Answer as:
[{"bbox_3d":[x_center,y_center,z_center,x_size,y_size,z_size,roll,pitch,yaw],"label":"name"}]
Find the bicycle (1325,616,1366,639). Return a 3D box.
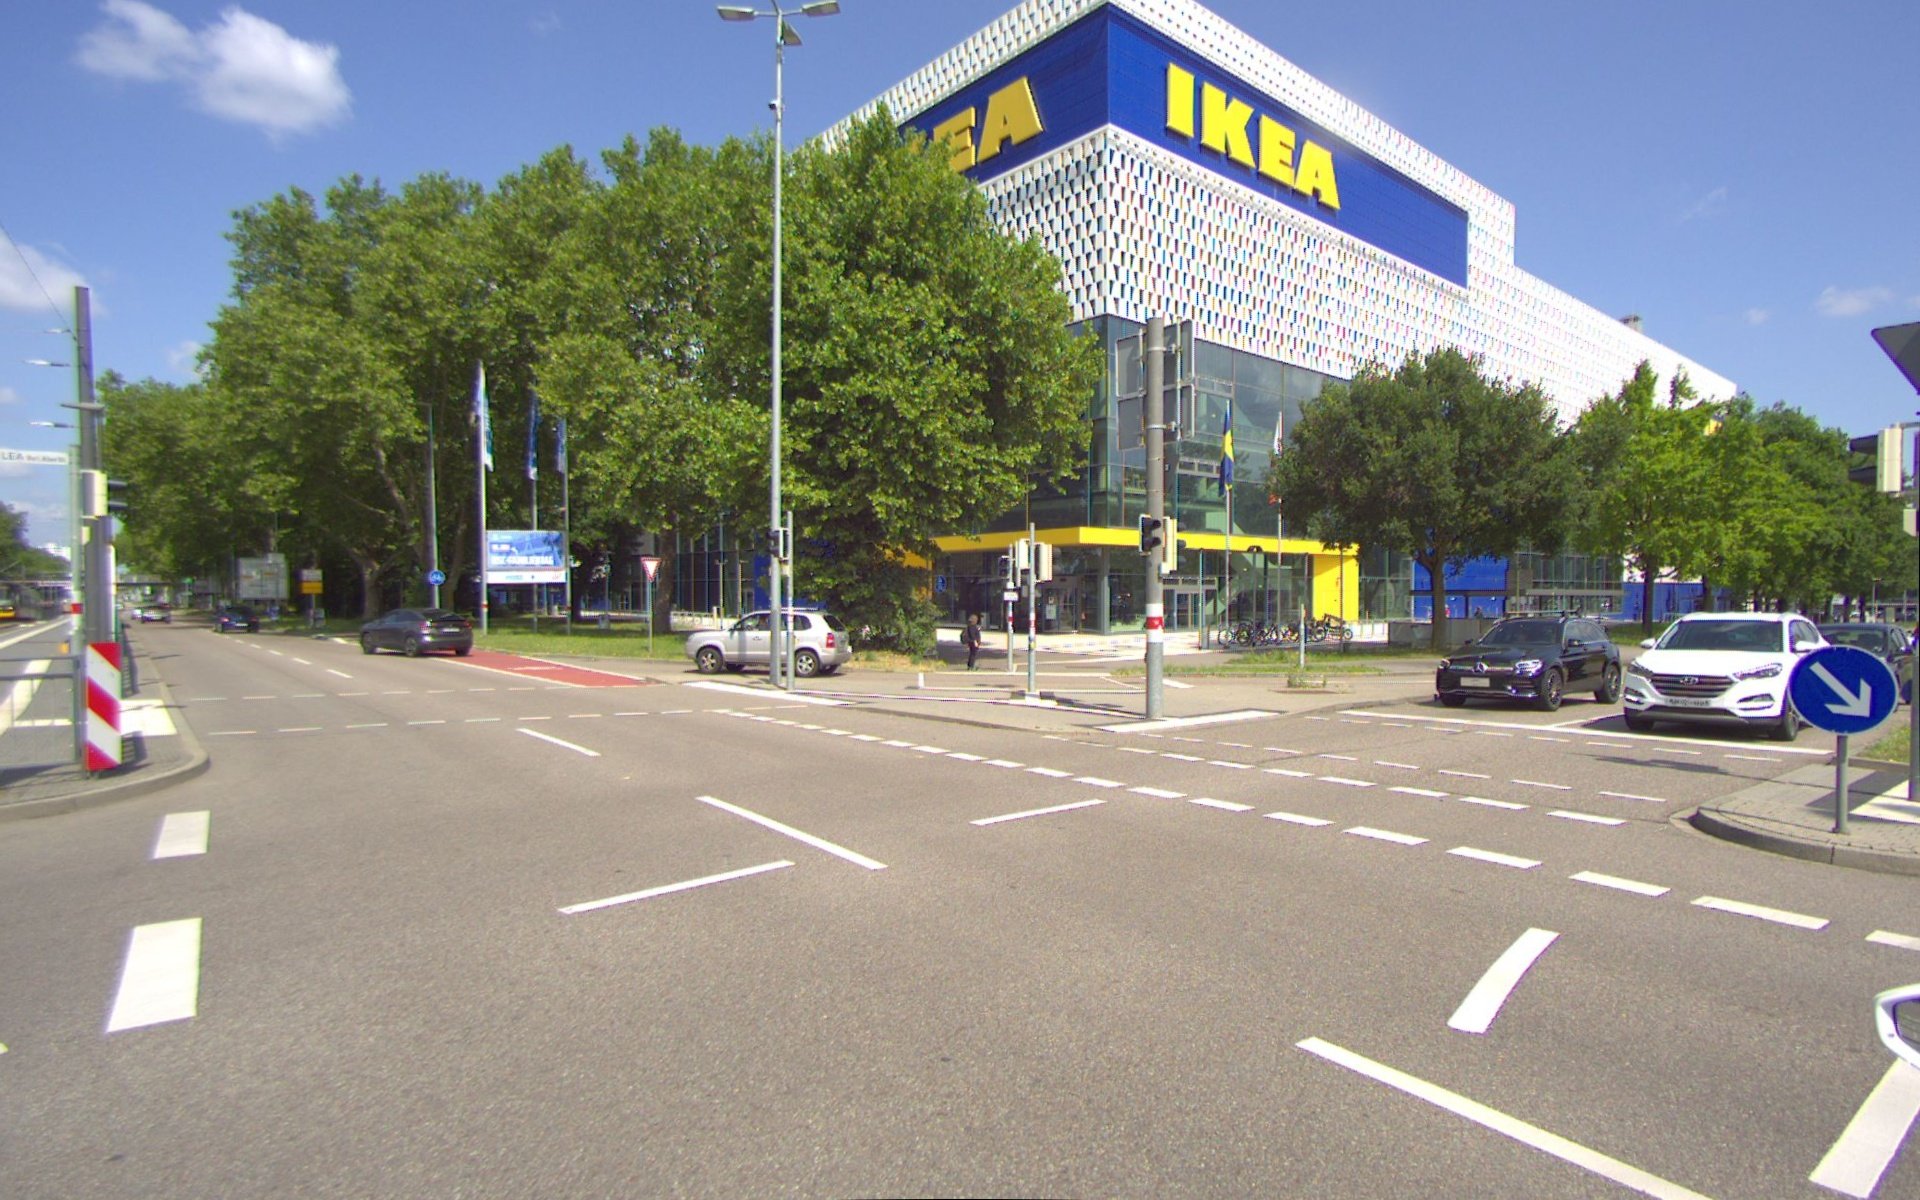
[{"bbox_3d":[19.812,1.389,51.647,0.560,1.146,1.913,1,0,-42],"label":"bicycle"}]

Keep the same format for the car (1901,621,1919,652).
[{"bbox_3d":[46.024,1.730,47.505,4.481,1.440,1.650,1,-2,-40],"label":"car"}]

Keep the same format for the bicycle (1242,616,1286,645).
[{"bbox_3d":[13.927,1.385,46.035,0.464,1.188,1.937,-1,2,-42],"label":"bicycle"}]

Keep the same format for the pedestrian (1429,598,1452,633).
[{"bbox_3d":[25.691,0.843,53.697,0.879,1.847,0.747,1,2,-39],"label":"pedestrian"}]

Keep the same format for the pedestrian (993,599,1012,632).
[{"bbox_3d":[2.242,0.804,53.011,0.880,1.729,0.711,2,1,11],"label":"pedestrian"}]

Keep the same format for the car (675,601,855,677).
[{"bbox_3d":[-5.008,0.971,26.155,4.165,1.747,2.023,1,1,6],"label":"car"}]

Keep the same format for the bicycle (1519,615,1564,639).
[{"bbox_3d":[30.599,1.407,52.891,0.624,1.200,1.909,0,2,-38],"label":"bicycle"}]

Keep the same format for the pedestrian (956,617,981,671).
[{"bbox_3d":[0.246,1.251,28.969,0.431,1.510,0.618,2,1,34],"label":"pedestrian"}]

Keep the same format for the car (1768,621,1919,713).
[{"bbox_3d":[16.404,1.159,18.517,4.098,1.513,1.590,2,-2,-40],"label":"car"}]

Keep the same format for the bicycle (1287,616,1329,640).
[{"bbox_3d":[17.027,1.380,49.188,0.525,1.084,1.916,1,1,-42],"label":"bicycle"}]

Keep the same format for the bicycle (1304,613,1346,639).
[{"bbox_3d":[18.208,1.282,50.174,0.525,1.226,1.916,1,1,-42],"label":"bicycle"}]

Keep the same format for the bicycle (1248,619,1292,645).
[{"bbox_3d":[14.326,1.467,46.456,0.525,1.084,1.916,1,1,-42],"label":"bicycle"}]

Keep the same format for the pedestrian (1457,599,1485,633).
[{"bbox_3d":[26.681,0.843,52.458,0.879,1.725,0.942,1,2,-39],"label":"pedestrian"}]

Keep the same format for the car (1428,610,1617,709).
[{"bbox_3d":[10.420,1.074,18.504,3.967,1.636,1.756,3,-3,-40],"label":"car"}]

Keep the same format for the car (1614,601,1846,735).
[{"bbox_3d":[11.112,0.908,14.390,4.341,1.641,1.694,2,-2,-39],"label":"car"}]

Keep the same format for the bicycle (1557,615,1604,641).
[{"bbox_3d":[31.188,1.399,50.487,0.624,1.199,1.909,0,2,-38],"label":"bicycle"}]

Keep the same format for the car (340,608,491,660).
[{"bbox_3d":[-17.177,1.037,31.685,4.169,1.397,2.021,1,2,23],"label":"car"}]

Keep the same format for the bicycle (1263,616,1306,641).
[{"bbox_3d":[15.355,1.356,47.620,0.525,1.084,1.916,1,1,-42],"label":"bicycle"}]

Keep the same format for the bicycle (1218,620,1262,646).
[{"bbox_3d":[12.657,1.474,45.511,0.525,1.084,1.916,1,1,-42],"label":"bicycle"}]

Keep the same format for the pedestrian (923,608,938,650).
[{"bbox_3d":[-1.245,1.221,42.507,0.513,1.726,0.404,-1,2,-45],"label":"pedestrian"}]

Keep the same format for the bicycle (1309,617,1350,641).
[{"bbox_3d":[18.597,1.467,50.597,0.560,1.146,1.913,1,0,-42],"label":"bicycle"}]

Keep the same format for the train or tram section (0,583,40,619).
[{"bbox_3d":[-90.410,0.145,94.405,4.493,3.072,24.840,0,-1,-40],"label":"train or tram section"}]

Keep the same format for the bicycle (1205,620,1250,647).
[{"bbox_3d":[11.793,1.483,44.375,0.525,1.084,1.916,1,1,-42],"label":"bicycle"}]

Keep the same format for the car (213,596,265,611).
[{"bbox_3d":[-74.845,0.320,104.322,1.969,1.484,3.983,1,1,38],"label":"car"}]

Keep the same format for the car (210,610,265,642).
[{"bbox_3d":[-38.962,1.379,54.122,1.985,1.617,3.950,1,0,-42],"label":"car"}]

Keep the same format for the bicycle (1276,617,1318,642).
[{"bbox_3d":[16.226,1.426,48.419,0.516,1.104,1.911,-1,2,-42],"label":"bicycle"}]

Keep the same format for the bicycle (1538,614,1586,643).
[{"bbox_3d":[29.328,1.386,48.975,0.624,1.290,1.909,0,2,-38],"label":"bicycle"}]

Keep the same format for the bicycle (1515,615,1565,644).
[{"bbox_3d":[27.406,1.384,47.470,0.624,1.290,1.909,0,2,-38],"label":"bicycle"}]
